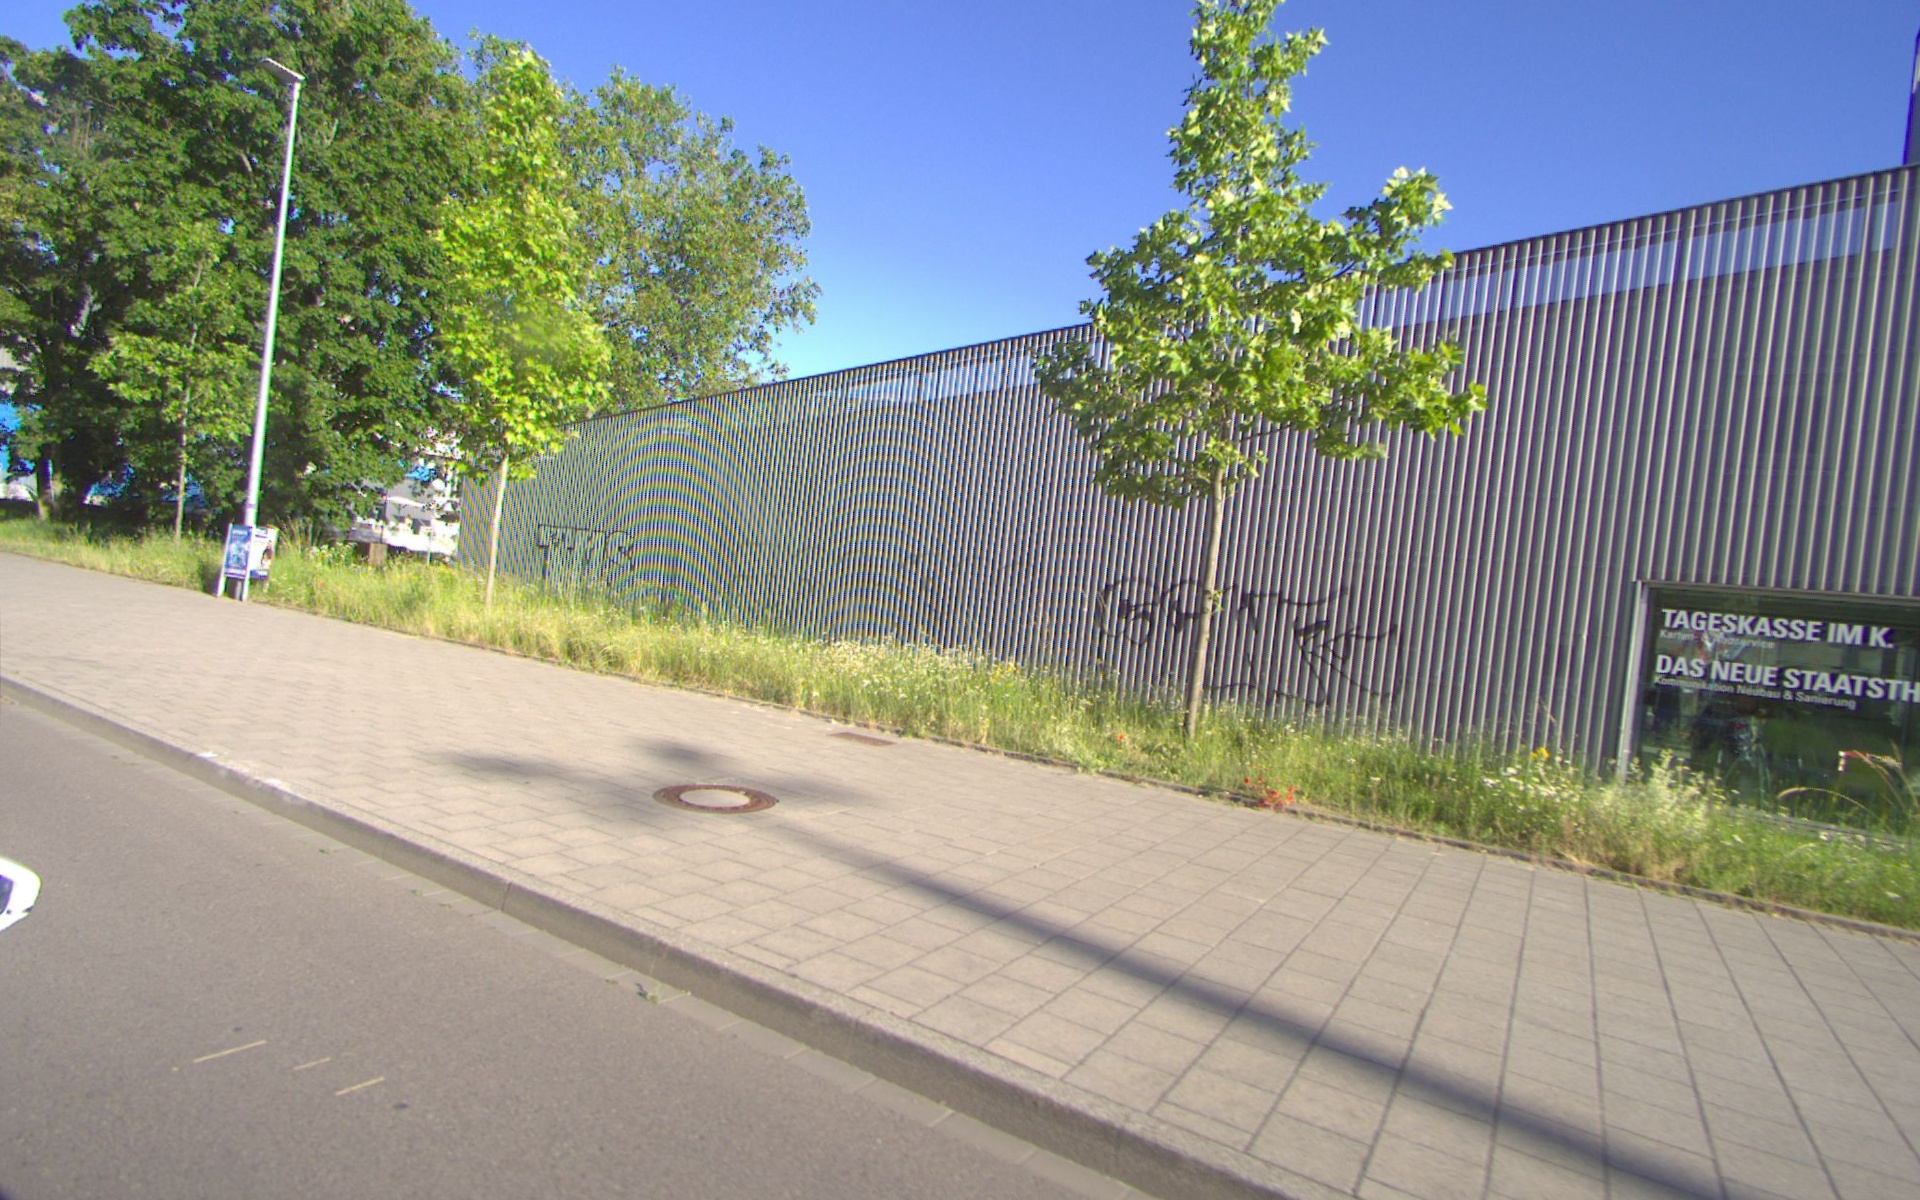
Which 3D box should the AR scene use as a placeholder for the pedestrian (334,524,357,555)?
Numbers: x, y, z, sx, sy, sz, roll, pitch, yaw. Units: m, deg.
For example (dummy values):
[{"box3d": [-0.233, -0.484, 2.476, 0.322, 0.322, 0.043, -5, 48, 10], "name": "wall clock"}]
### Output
[{"box3d": [-44.644, -4.388, 73.113, 0.932, 2.038, 0.913, 5, 0, 2], "name": "pedestrian"}]
